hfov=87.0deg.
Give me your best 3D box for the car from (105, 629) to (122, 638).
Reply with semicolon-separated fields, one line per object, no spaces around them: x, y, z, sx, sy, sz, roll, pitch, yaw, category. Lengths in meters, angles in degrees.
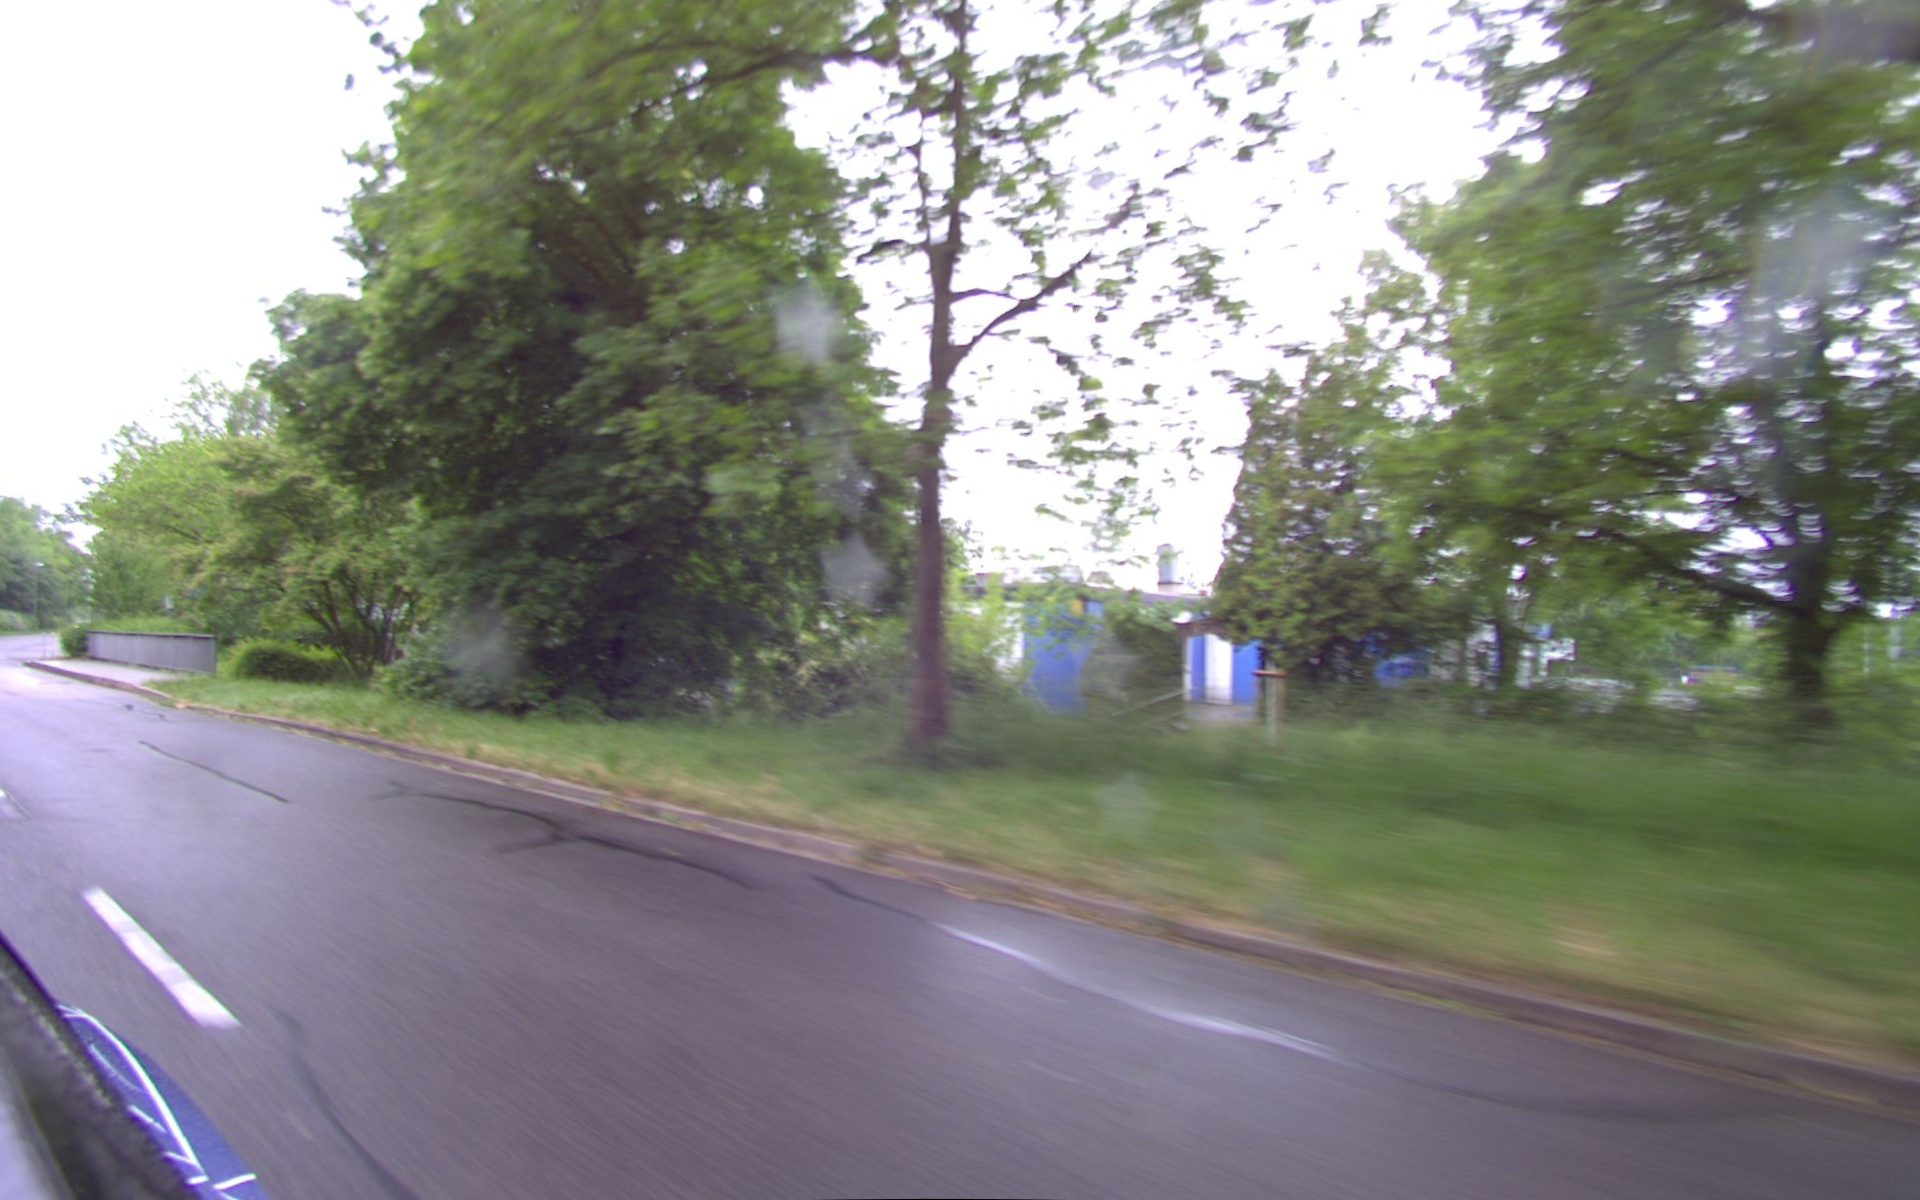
-135.677;5.376;162.158;1.802;1.476;4.009;3;-3;-37;car
